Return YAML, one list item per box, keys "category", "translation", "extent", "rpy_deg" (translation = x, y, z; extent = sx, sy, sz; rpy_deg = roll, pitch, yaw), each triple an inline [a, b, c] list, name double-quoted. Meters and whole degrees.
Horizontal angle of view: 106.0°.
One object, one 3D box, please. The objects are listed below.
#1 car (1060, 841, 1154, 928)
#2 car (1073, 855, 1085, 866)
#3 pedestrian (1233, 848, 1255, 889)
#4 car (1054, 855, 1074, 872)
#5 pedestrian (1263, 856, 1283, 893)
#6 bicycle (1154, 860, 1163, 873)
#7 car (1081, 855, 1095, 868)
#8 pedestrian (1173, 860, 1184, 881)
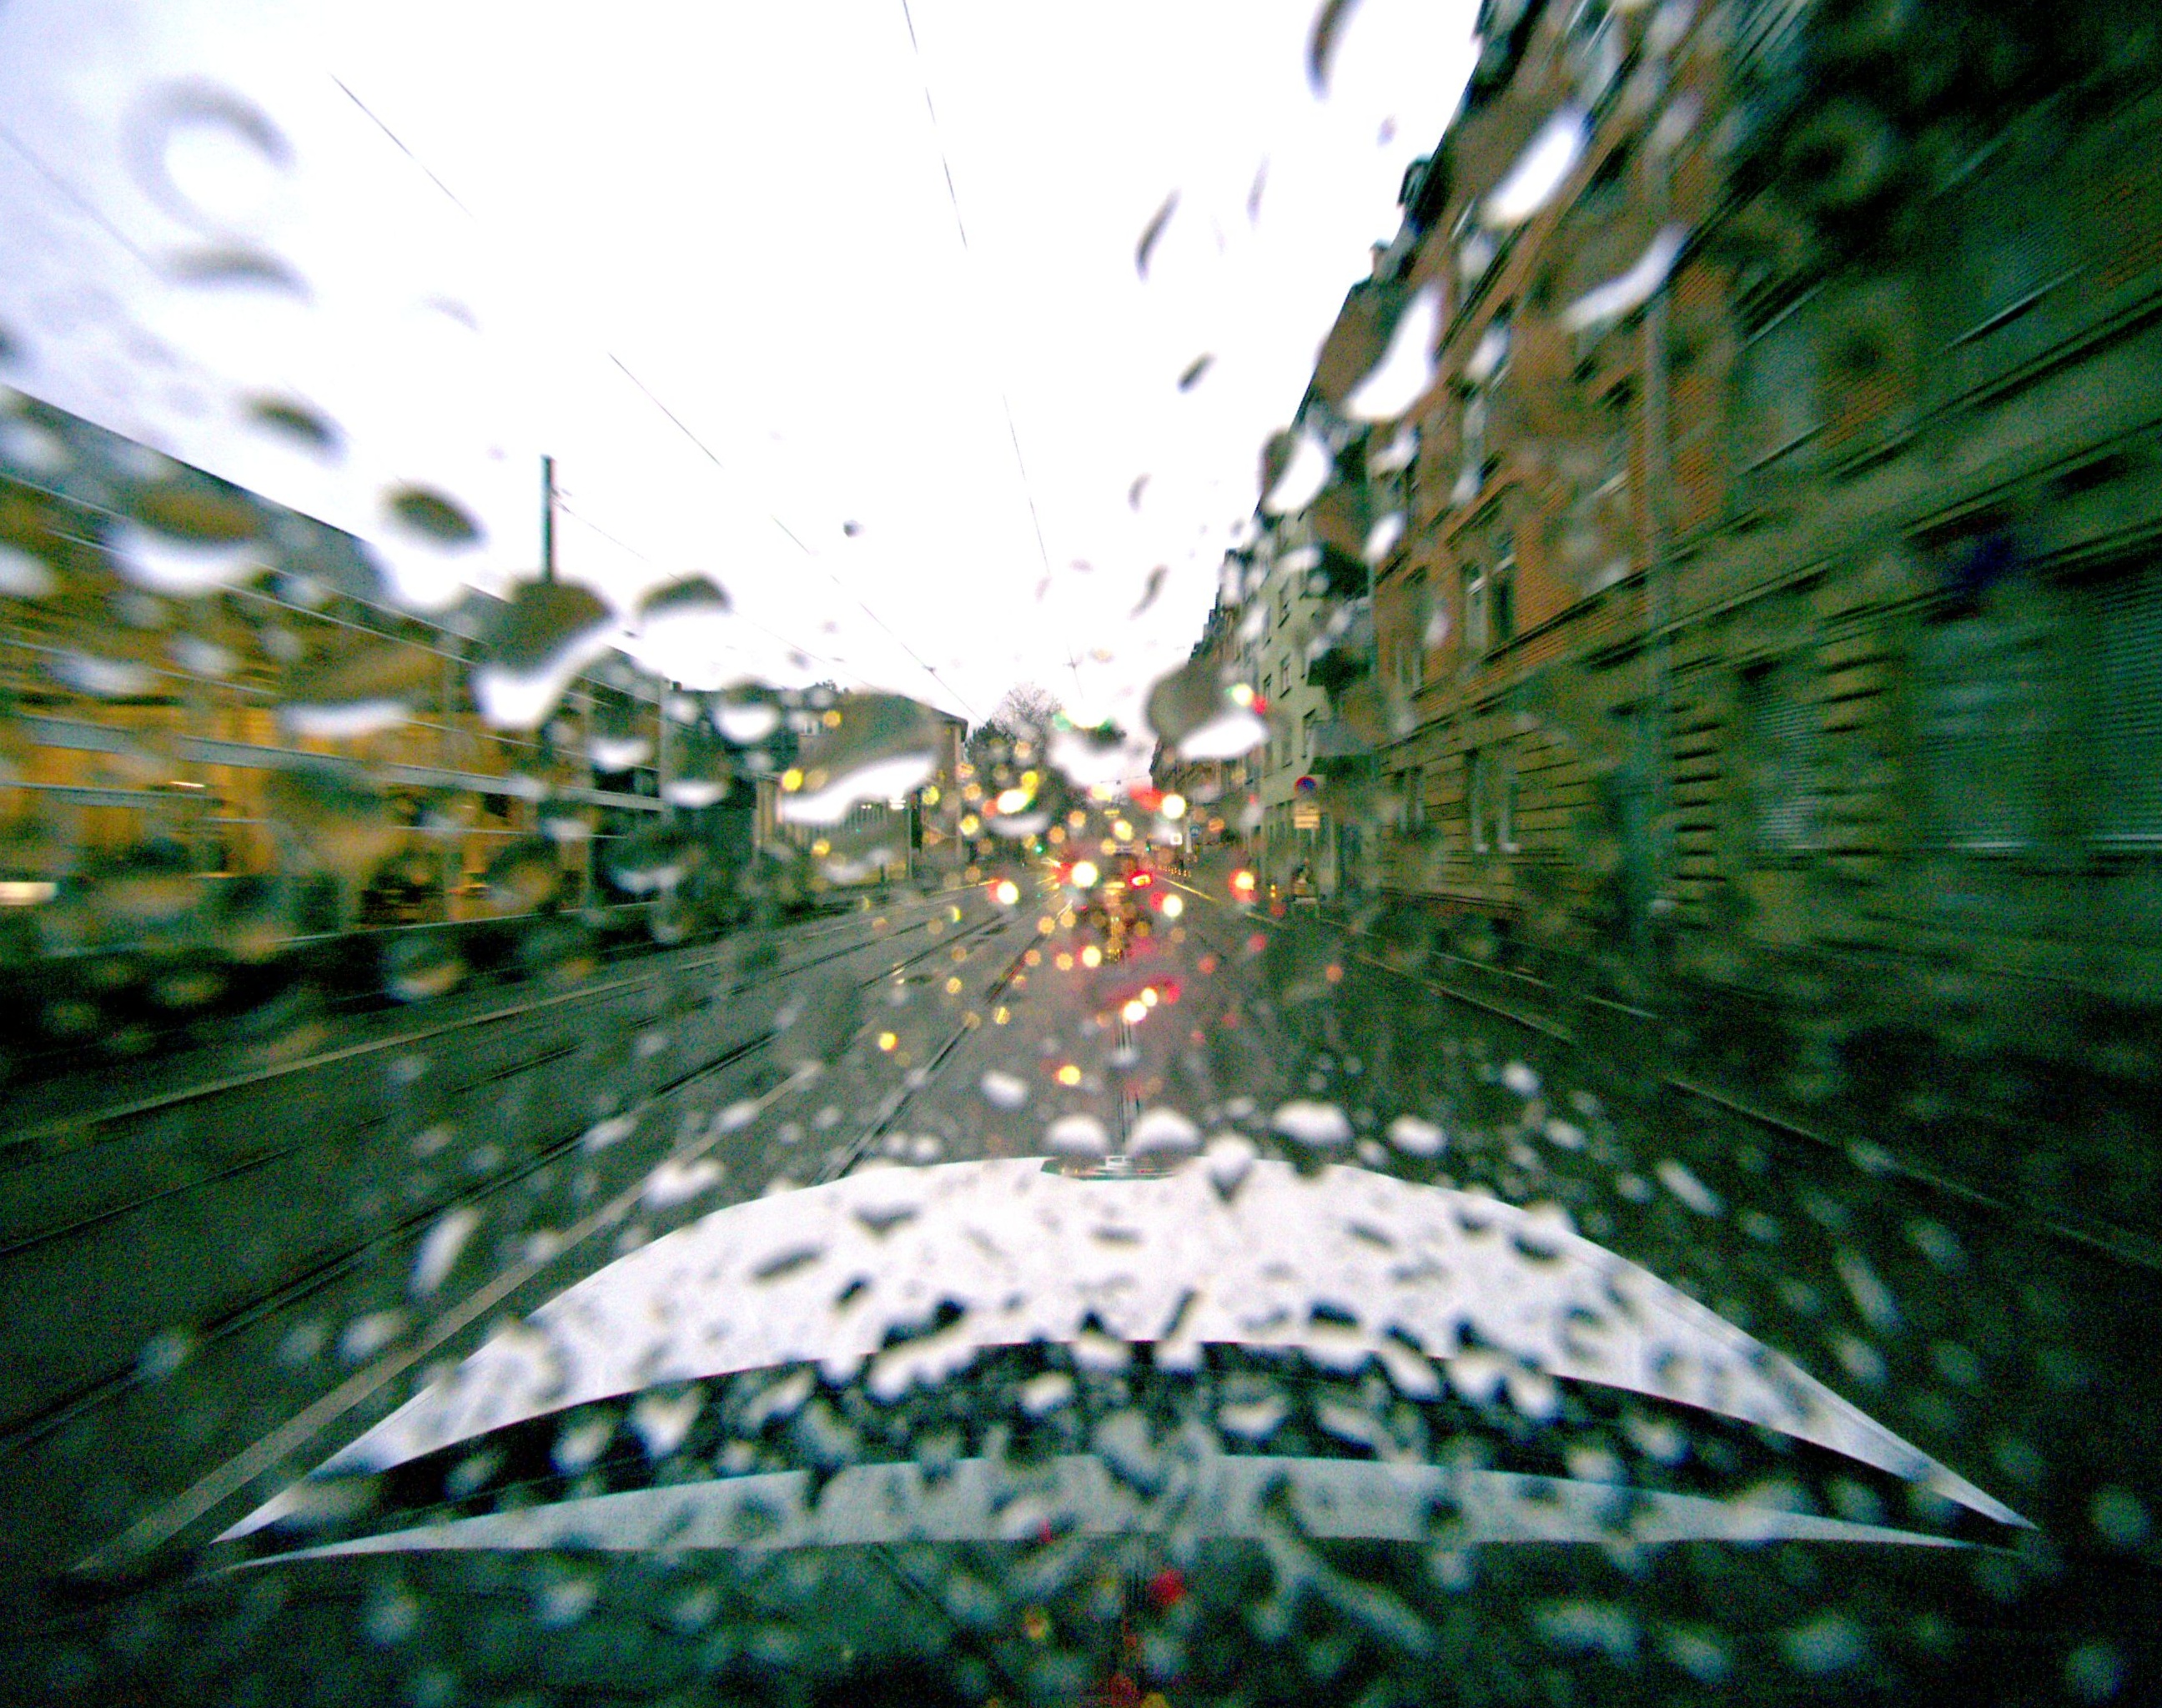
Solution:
- category: "car"
  translation: [0.730, 0.666, 19.447]
  extent: [1.984, 1.842, 4.005]
  rpy_deg: [-1, 0, 5]
- category: "car"
  translation: [-0.270, 0.980, 120.064]
  extent: [1.524, 1.481, 3.563]
  rpy_deg: [-1, 0, 2]
- category: "pedestrian"
  translation: [7.289, 0.651, 36.428]
  extent: [0.601, 1.818, 0.769]
  rpy_deg: [0, -1, -26]
- category: "car"
  translation: [-1.744, 0.989, 86.741]
  extent: [1.868, 1.710, 4.761]
  rpy_deg: [-2, 0, 1]
- category: "pedestrian"
  translation: [7.253, 0.762, 30.799]
  extent: [0.597, 1.377, 0.728]
  rpy_deg: [-1, -1, 1]
- category: "bicycle"
  translation: [6.636, 1.076, 69.910]
  extent: [0.681, 1.156, 2.189]
  rpy_deg: [-1, -1, 2]
- category: "car"
  translation: [1.441, 1.517, 157.897]
  extent: [2.437, 2.347, 5.848]
  rpy_deg: [-2, -1, 2]
- category: "pedestrian"
  translation: [8.100, 1.353, 67.838]
  extent: [0.829, 1.701, 0.956]
  rpy_deg: [-1, -1, 10]
